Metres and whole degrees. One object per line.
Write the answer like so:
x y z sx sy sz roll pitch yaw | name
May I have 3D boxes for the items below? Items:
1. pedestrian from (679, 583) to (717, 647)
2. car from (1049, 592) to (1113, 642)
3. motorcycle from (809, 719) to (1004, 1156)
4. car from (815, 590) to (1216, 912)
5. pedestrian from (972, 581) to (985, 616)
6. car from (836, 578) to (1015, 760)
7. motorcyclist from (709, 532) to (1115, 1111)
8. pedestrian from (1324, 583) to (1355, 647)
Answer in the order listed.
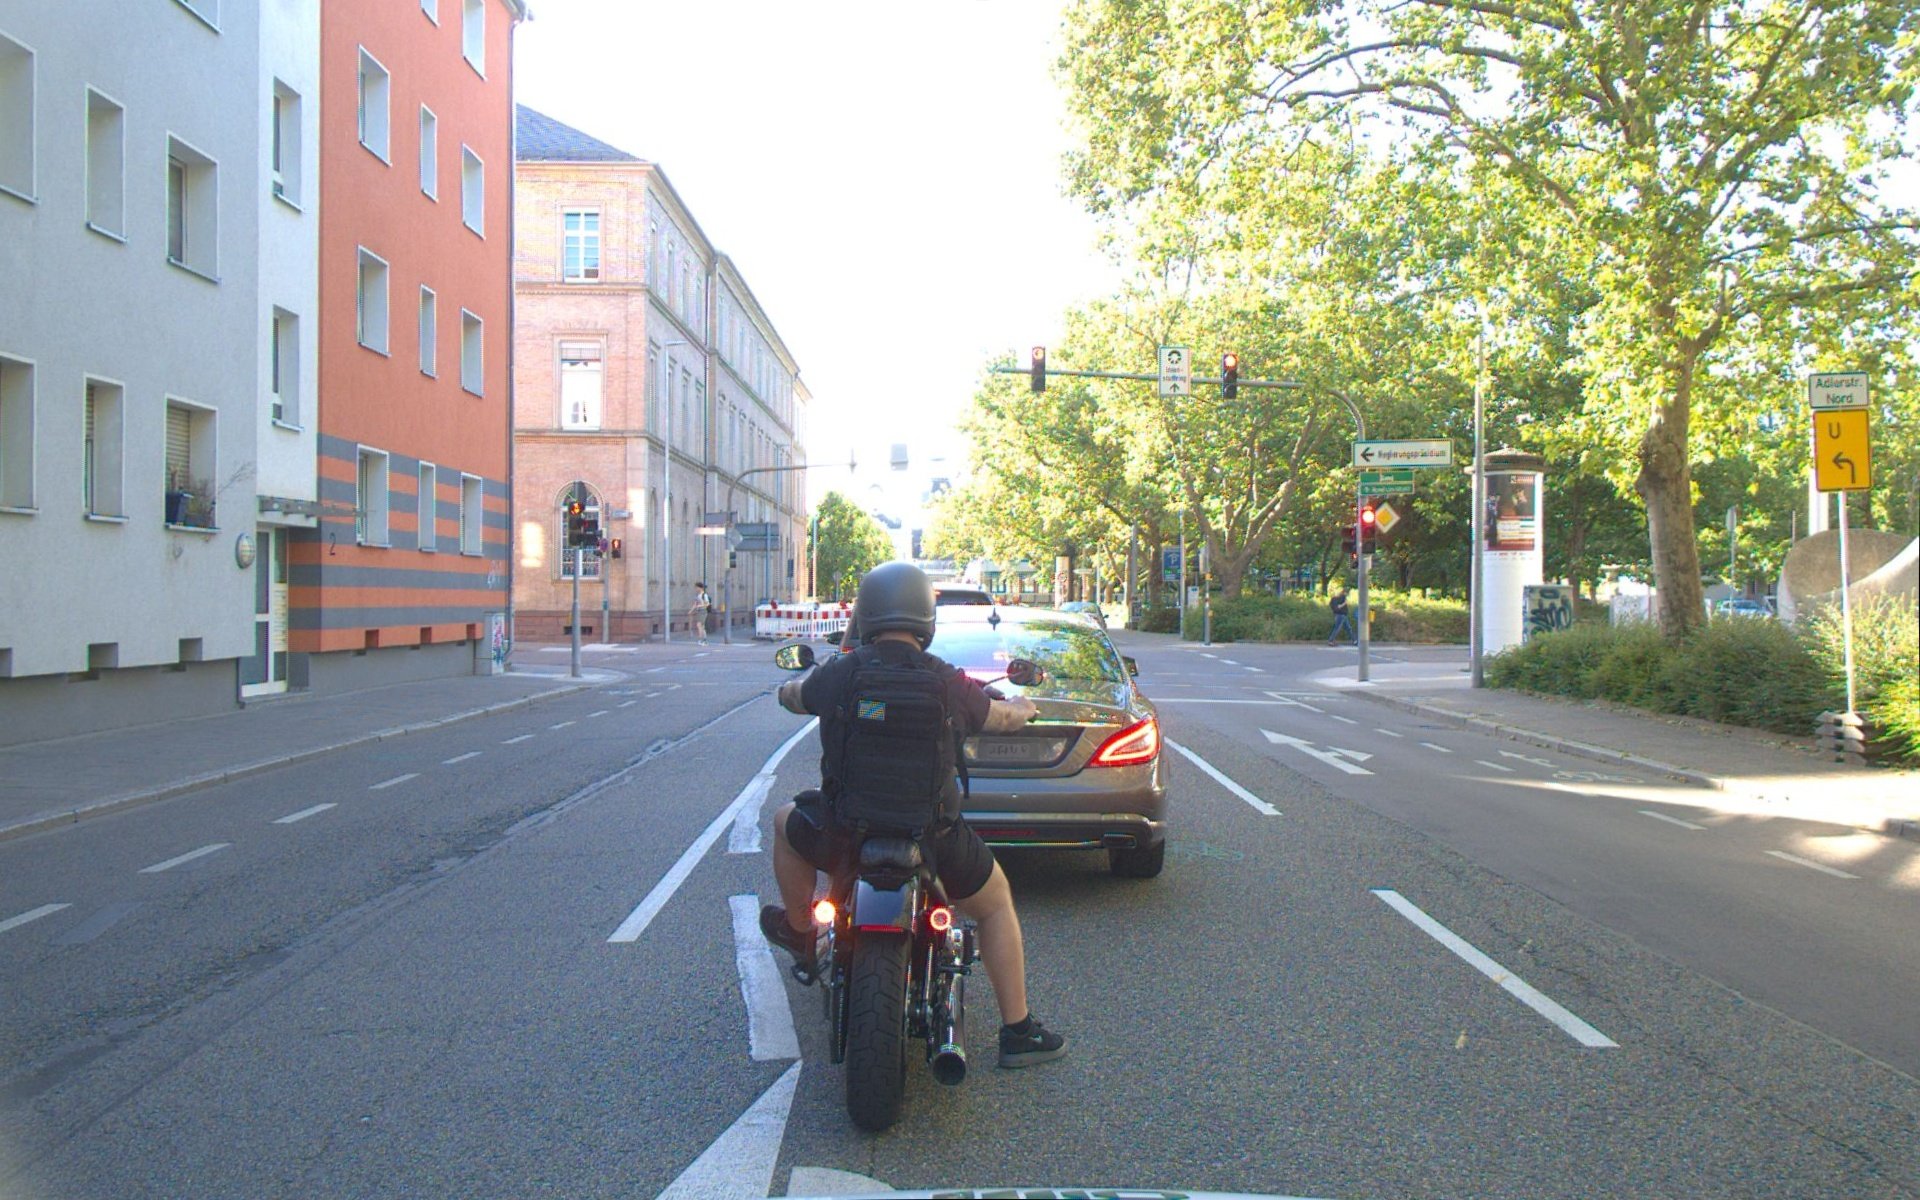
-7.792 0.451 49.111 0.985 1.858 1.072 1 -1 -16 | pedestrian
4.114 0.560 55.847 1.812 1.602 4.139 1 0 8 | car
-0.158 0.971 5.411 0.503 1.020 2.013 1 0 -1 | motorcycle
0.234 0.695 9.612 1.844 1.475 3.819 1 0 -1 | car
1.151 -0.079 100.845 0.748 2.087 0.712 1 -1 -1 | pedestrian
-0.332 0.608 16.720 1.588 1.622 3.999 0 0 -1 | car
-0.144 0.633 5.341 1.125 1.626 1.288 1 0 -1 | motorcyclist
11.810 0.470 51.468 0.903 1.943 0.752 1 -1 12 | pedestrian
